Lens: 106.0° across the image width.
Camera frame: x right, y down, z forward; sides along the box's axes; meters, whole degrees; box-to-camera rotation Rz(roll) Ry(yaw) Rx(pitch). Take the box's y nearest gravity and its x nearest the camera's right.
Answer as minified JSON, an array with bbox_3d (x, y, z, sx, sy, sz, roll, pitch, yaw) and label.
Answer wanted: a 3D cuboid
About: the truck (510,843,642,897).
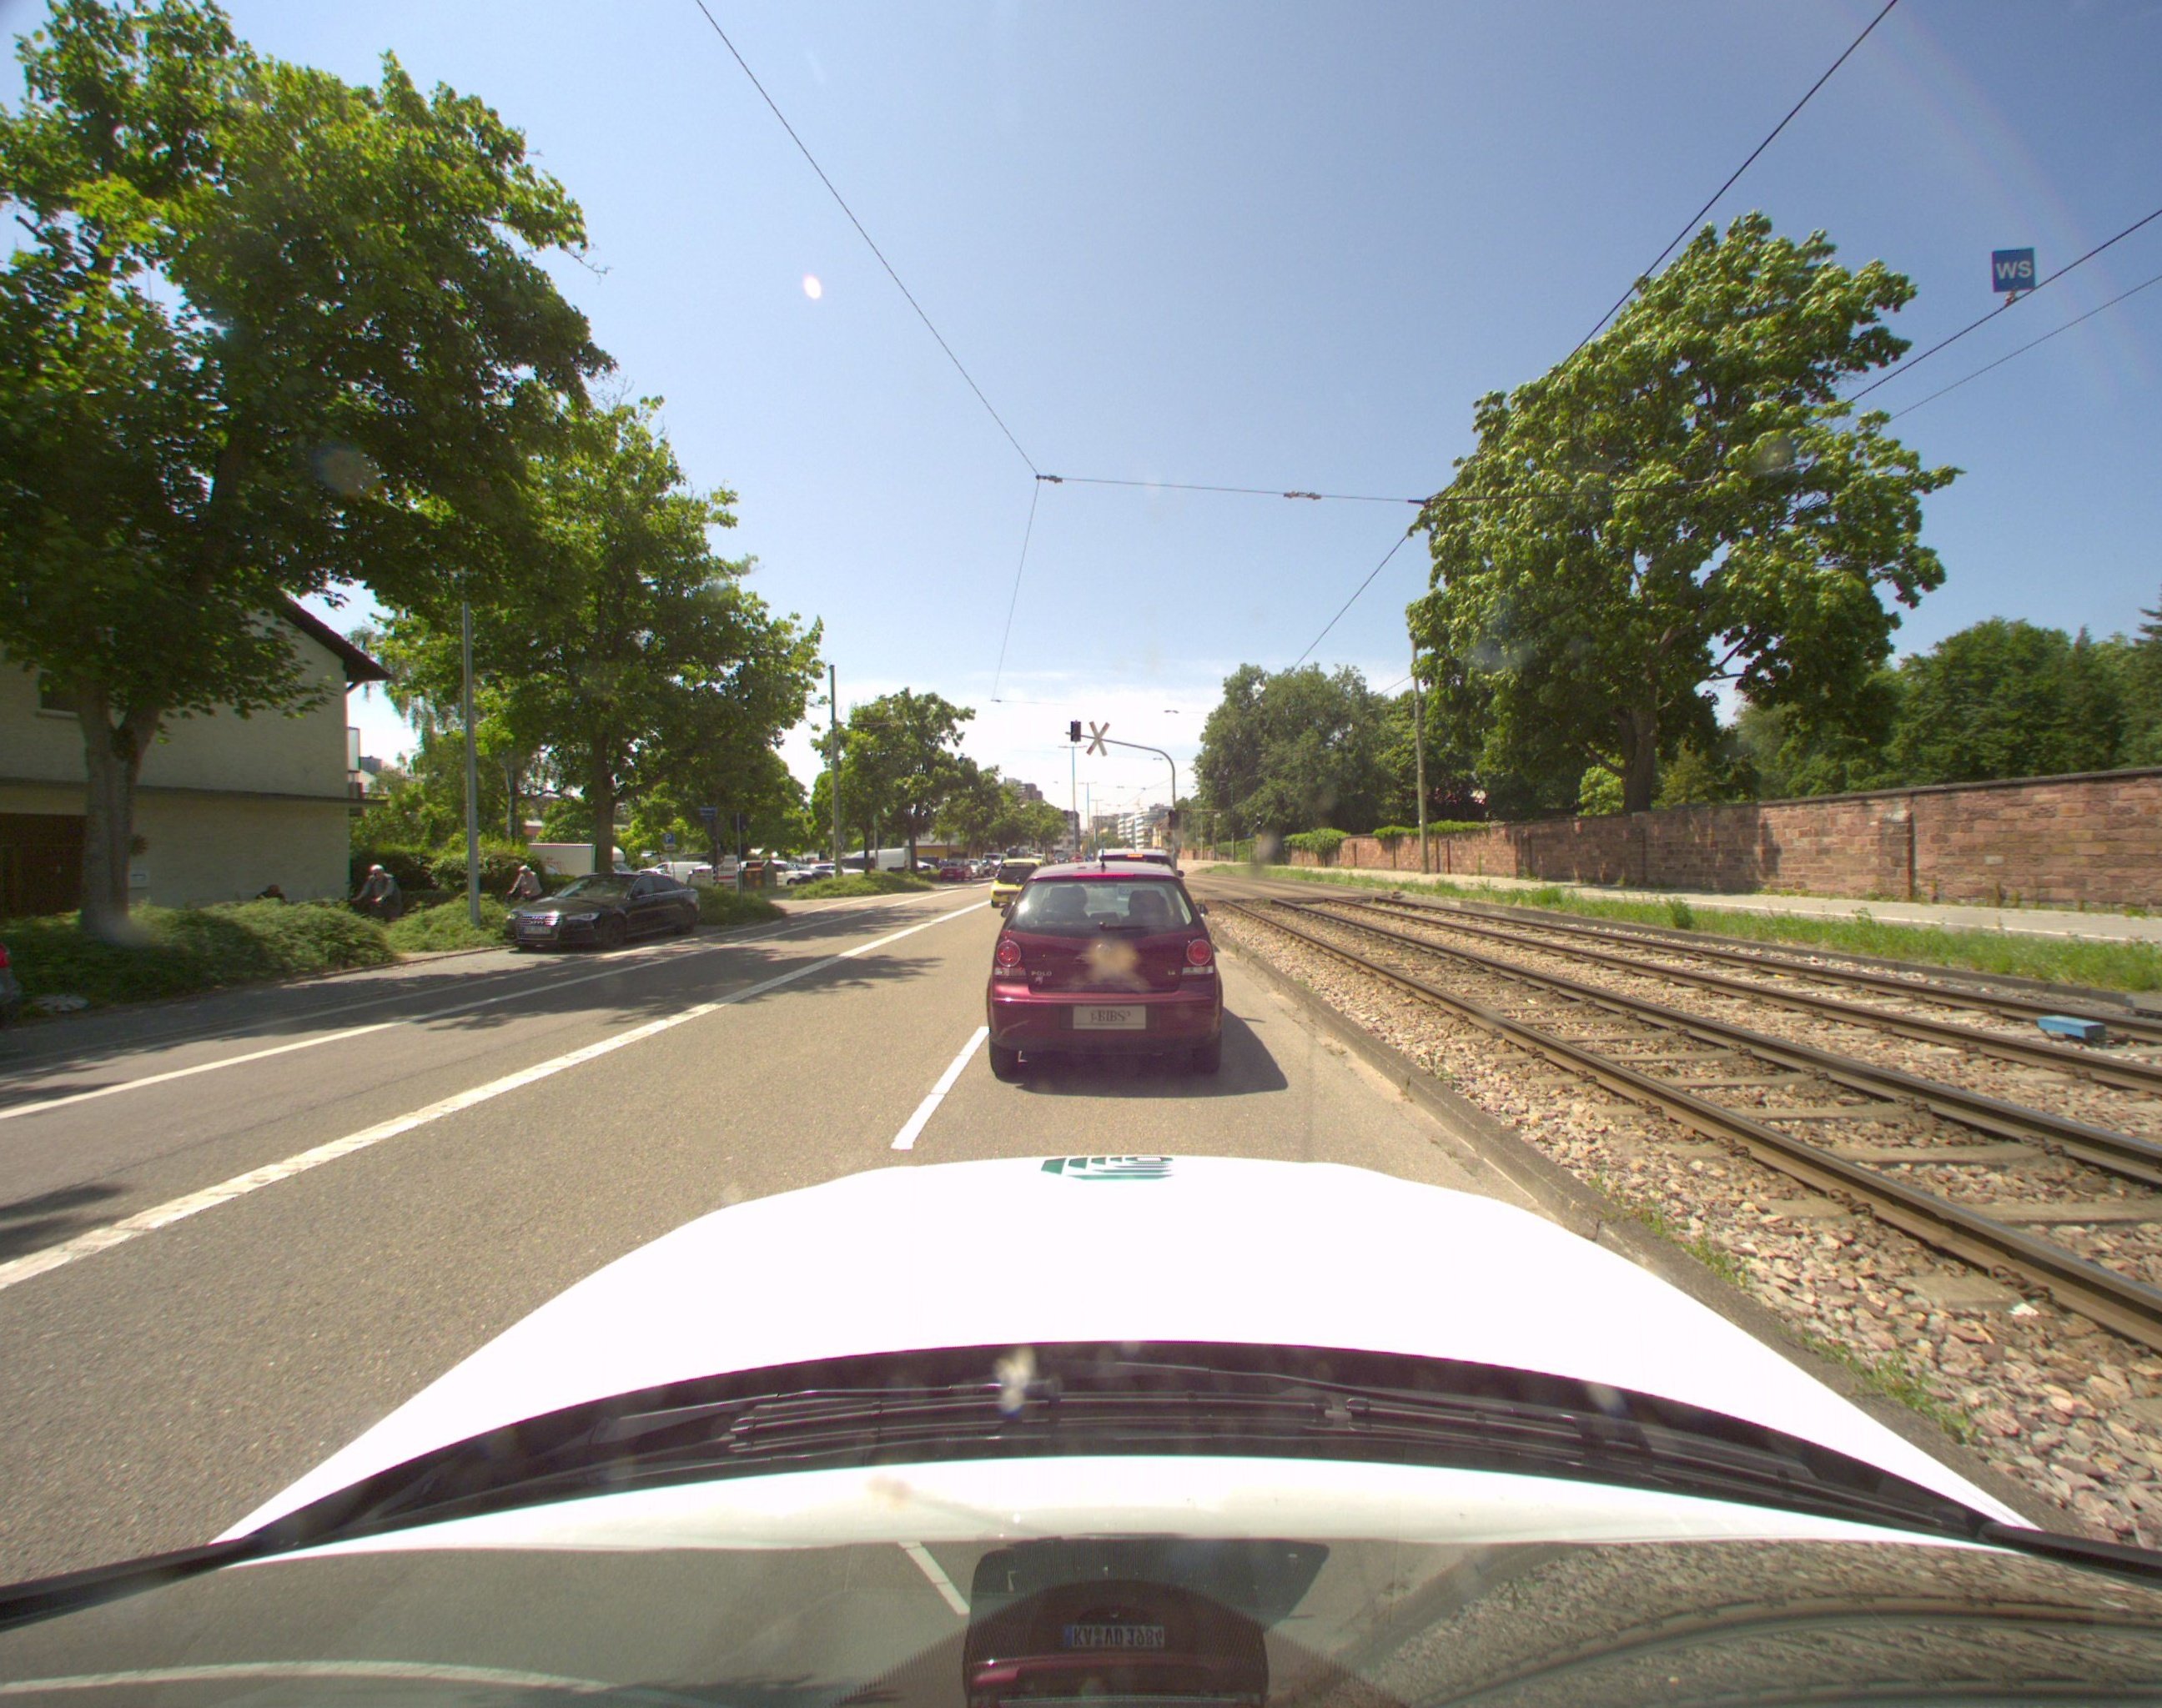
[{"bbox_3d":[-31.952,0.981,51.636,6.954,3.227,2.150,-1,0,0],"label":"truck"}]

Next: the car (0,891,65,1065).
[{"bbox_3d":[-10.227,1.091,5.426,1.670,1.486,4.130,0,0,2],"label":"car"}]

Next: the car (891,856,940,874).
[{"bbox_3d":[-17.621,1.158,86.873,4.702,1.813,1.797,-2,0,0],"label":"car"}]

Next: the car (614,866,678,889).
[{"bbox_3d":[-31.676,1.722,59.379,3.733,1.576,1.733,-1,0,1],"label":"car"}]

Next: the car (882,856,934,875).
[{"bbox_3d":[-17.490,1.144,82.459,4.702,1.813,1.797,-2,0,0],"label":"car"}]

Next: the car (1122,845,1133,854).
[{"bbox_3d":[9.854,-0.946,172.722,1.914,1.910,4.566,-2,0,-3],"label":"car"}]

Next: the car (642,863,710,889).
[{"bbox_3d":[-30.690,1.661,61.806,4.112,1.820,1.971,-1,0,1],"label":"car"}]

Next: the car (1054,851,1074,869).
[{"bbox_3d":[-1.915,0.711,93.865,1.911,1.910,4.573,-3,0,2],"label":"car"}]

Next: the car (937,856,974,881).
[{"bbox_3d":[-8.373,0.954,54.586,1.664,1.546,3.731,0,-1,4],"label":"car"}]

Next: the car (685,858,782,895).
[{"bbox_3d":[-19.280,1.226,45.366,4.437,1.857,2.059,-2,0,-3],"label":"car"}]

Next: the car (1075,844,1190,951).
[{"bbox_3d":[0.877,0.683,14.850,1.788,1.683,4.002,0,0,2],"label":"car"}]

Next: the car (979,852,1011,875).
[{"bbox_3d":[-7.527,0.805,71.541,1.854,1.937,4.811,2,0,4],"label":"car"}]

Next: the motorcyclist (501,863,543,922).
[{"bbox_3d":[-14.578,0.998,21.250,0.584,1.503,0.663,1,0,3],"label":"motorcyclist"}]

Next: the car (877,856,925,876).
[{"bbox_3d":[-17.655,1.191,79.959,4.195,1.765,1.857,-2,0,0],"label":"car"}]

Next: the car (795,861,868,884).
[{"bbox_3d":[-18.658,1.396,61.052,4.745,1.488,2.058,-2,0,0],"label":"car"}]

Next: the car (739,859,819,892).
[{"bbox_3d":[-18.561,1.291,50.107,4.247,1.835,1.675,-2,0,4],"label":"car"}]

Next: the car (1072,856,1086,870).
[{"bbox_3d":[-0.317,1.255,117.711,1.892,1.926,4.820,-3,0,1],"label":"car"}]

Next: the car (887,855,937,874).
[{"bbox_3d":[-17.503,1.120,84.585,4.702,1.813,1.797,-2,0,0],"label":"car"}]

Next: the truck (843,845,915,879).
[{"bbox_3d":[-17.764,0.731,71.746,5.555,2.759,2.434,-2,0,3],"label":"truck"}]

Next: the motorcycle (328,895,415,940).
[{"bbox_3d":[-14.747,1.300,16.977,0.523,0.825,1.372,1,0,4],"label":"motorcycle"}]

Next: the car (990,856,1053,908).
[{"bbox_3d":[-1.760,0.803,24.896,1.545,1.448,3.413,0,0,2],"label":"car"}]

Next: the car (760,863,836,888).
[{"bbox_3d":[-18.432,1.388,53.123,4.185,1.403,2.079,-2,0,-2],"label":"car"}]

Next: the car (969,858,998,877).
[{"bbox_3d":[-7.923,1.061,66.285,1.607,1.484,3.789,2,0,4],"label":"car"}]

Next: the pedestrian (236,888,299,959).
[{"bbox_3d":[-18.096,1.546,18.133,0.789,1.510,0.610,-2,0,8],"label":"pedestrian"}]

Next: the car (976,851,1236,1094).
[{"bbox_3d":[0.217,0.733,7.055,1.603,1.498,4.002,0,0,2],"label":"car"}]

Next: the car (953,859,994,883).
[{"bbox_3d":[-8.048,1.232,61.349,1.709,1.426,4.781,-7,0,8],"label":"car"}]

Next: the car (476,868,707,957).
[{"bbox_3d":[-9.793,1.081,16.868,1.888,1.456,4.809,0,0,0],"label":"car"}]

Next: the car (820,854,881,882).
[{"bbox_3d":[-18.020,1.080,63.821,4.195,1.995,1.857,-2,0,0],"label":"car"}]

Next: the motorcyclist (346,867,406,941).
[{"bbox_3d":[-14.739,1.031,17.047,0.584,1.503,0.726,1,0,3],"label":"motorcyclist"}]
